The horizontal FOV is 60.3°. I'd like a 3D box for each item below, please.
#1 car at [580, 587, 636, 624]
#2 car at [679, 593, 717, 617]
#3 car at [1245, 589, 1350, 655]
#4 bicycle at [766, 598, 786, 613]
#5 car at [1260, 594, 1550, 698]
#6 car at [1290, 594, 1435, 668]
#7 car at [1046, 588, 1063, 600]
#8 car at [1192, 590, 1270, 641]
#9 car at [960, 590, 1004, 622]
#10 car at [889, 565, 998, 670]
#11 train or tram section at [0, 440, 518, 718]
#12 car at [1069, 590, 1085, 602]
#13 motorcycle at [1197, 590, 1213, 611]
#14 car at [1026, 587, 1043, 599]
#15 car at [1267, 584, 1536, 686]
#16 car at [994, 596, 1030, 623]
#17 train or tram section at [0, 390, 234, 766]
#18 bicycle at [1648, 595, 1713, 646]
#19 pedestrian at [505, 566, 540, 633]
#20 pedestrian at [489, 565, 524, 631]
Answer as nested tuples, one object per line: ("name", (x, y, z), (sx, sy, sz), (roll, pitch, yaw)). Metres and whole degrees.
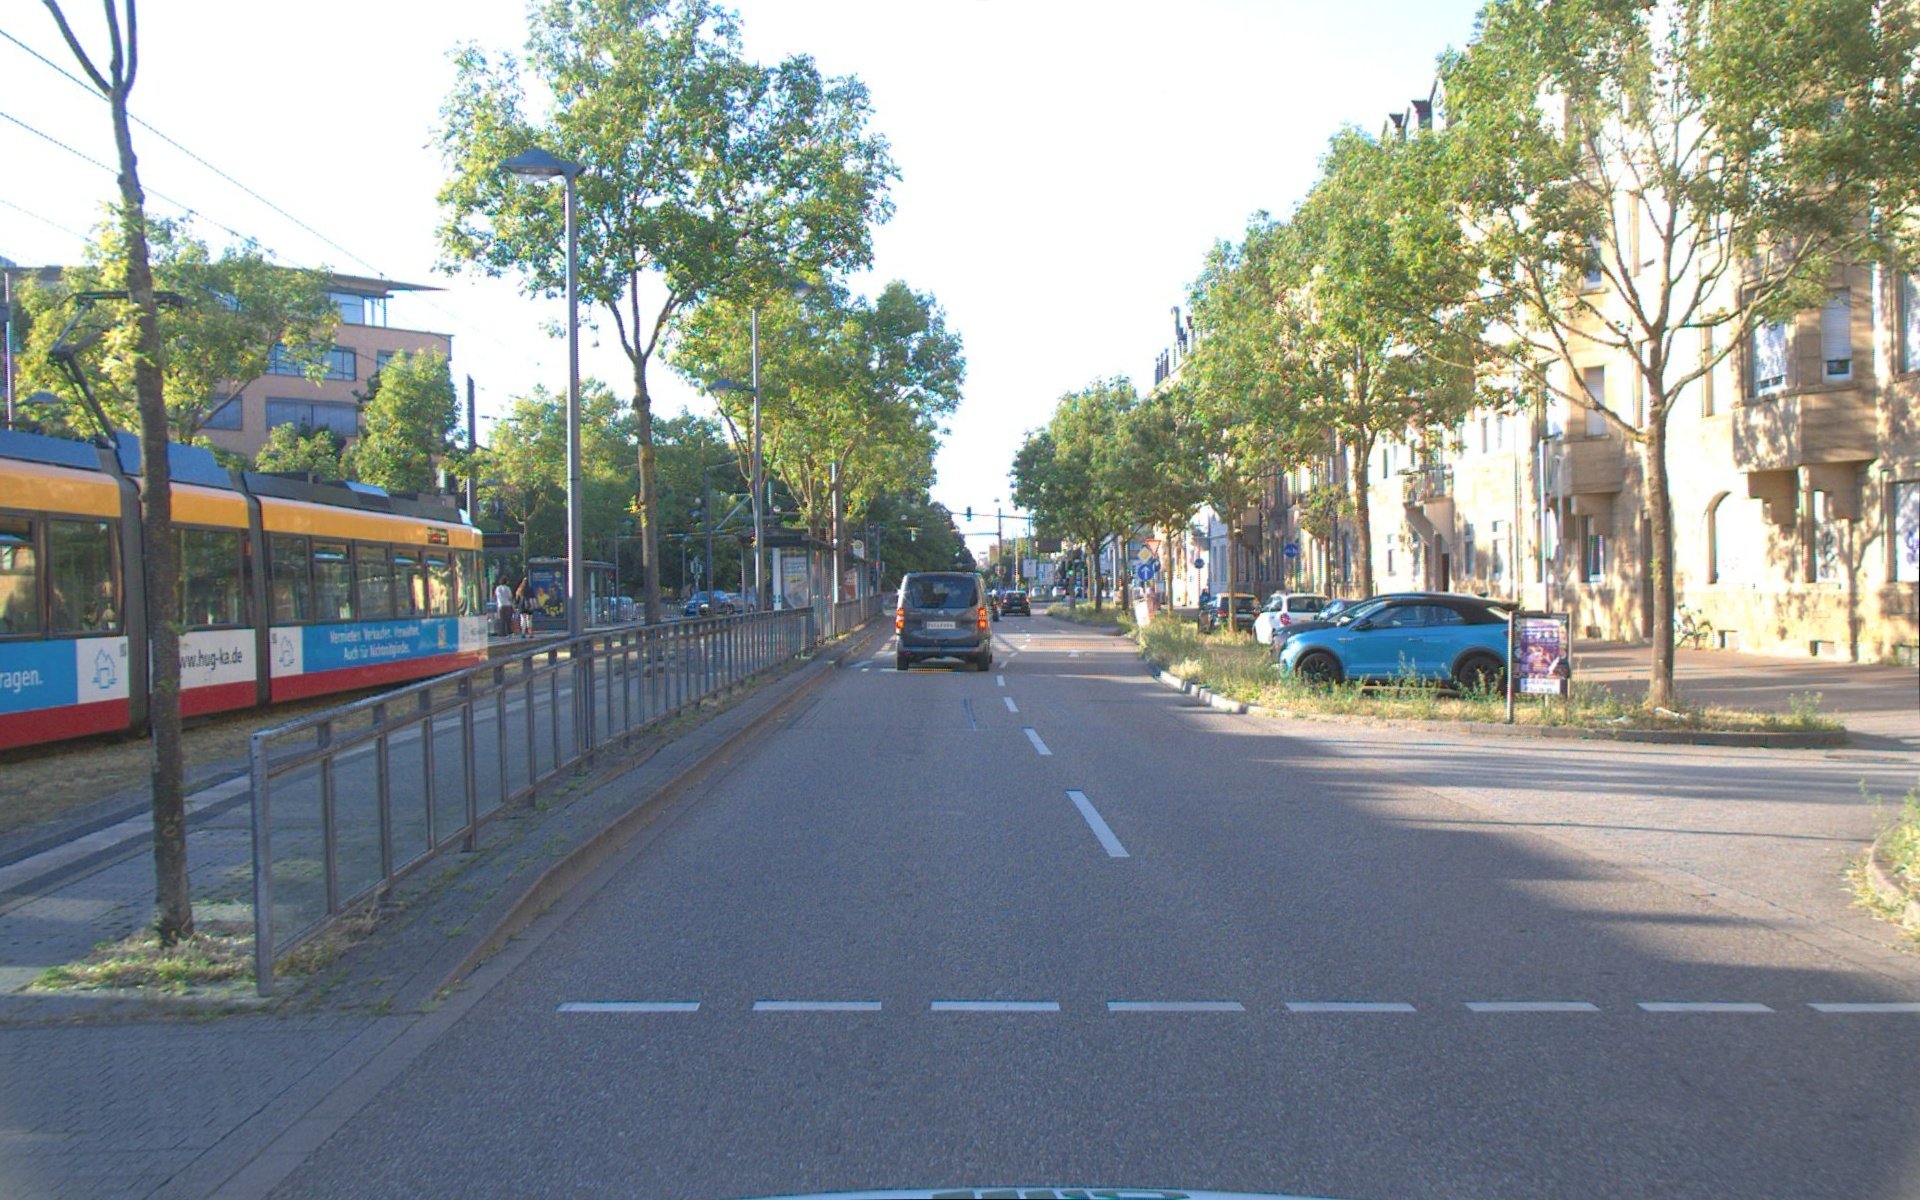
("car", (-16.696, 0.261, 78.633), (1.821, 1.682, 3.999), (-1, 0, -1))
("car", (-16.239, 0.311, 102.751), (1.758, 1.440, 4.340), (1, 0, -1))
("car", (8.571, 0.515, 42.342), (1.691, 1.538, 4.271), (2, 0, -1))
("bicycle", (-15.387, 0.458, 138.171), (1.708, 1.162, 0.550), (-1, 0, -43))
("car", (7.185, 0.696, 26.811), (4.196, 1.548, 1.843), (0, 0, 32))
("car", (8.856, 0.644, 36.815), (1.906, 1.470, 4.907), (2, 0, -1))
("car", (13.347, -0.804, 233.203), (1.954, 1.685, 4.296), (-1, 0, -3))
("car", (8.437, 0.455, 51.805), (1.669, 1.474, 4.288), (2, 0, 0))
("car", (1.091, 0.285, 83.569), (1.954, 1.537, 3.997), (0, 0, -4))
("car", (-0.263, 0.328, 33.452), (1.952, 1.934, 4.300), (1, 0, 3))
("train or tram section", (-10.762, -0.262, 27.285), (3.361, 3.398, 13.855), (-1, 0, -1))
("car", (16.336, -0.569, 230.920), (1.952, 1.685, 4.299), (-1, 0, 1))
("motorcycle", (14.480, 0.030, 97.733), (0.542, 1.235, 2.072), (1, 0, -2))
("car", (10.622, -1.039, 235.091), (1.954, 1.685, 4.296), (-1, 0, -3))
("car", (7.787, 0.563, 29.222), (4.245, 1.599, 1.999), (1, 1, 29))
("car", (3.033, 0.532, 97.554), (1.953, 1.537, 3.999), (0, 0, -1))
("train or tram section", (-10.573, -0.190, 12.920), (3.361, 3.490, 15.025), (-1, 0, -1))
("bicycle", (15.938, 0.438, 36.639), (0.560, 1.092, 1.896), (-2, 0, -1))
("pedestrian", (-13.492, -0.019, 51.010), (0.754, 2.049, 1.127), (-1, 0, 1))
("pedestrian", (-14.248, -0.070, 51.992), (0.754, 2.049, 1.127), (-1, 0, 1))
